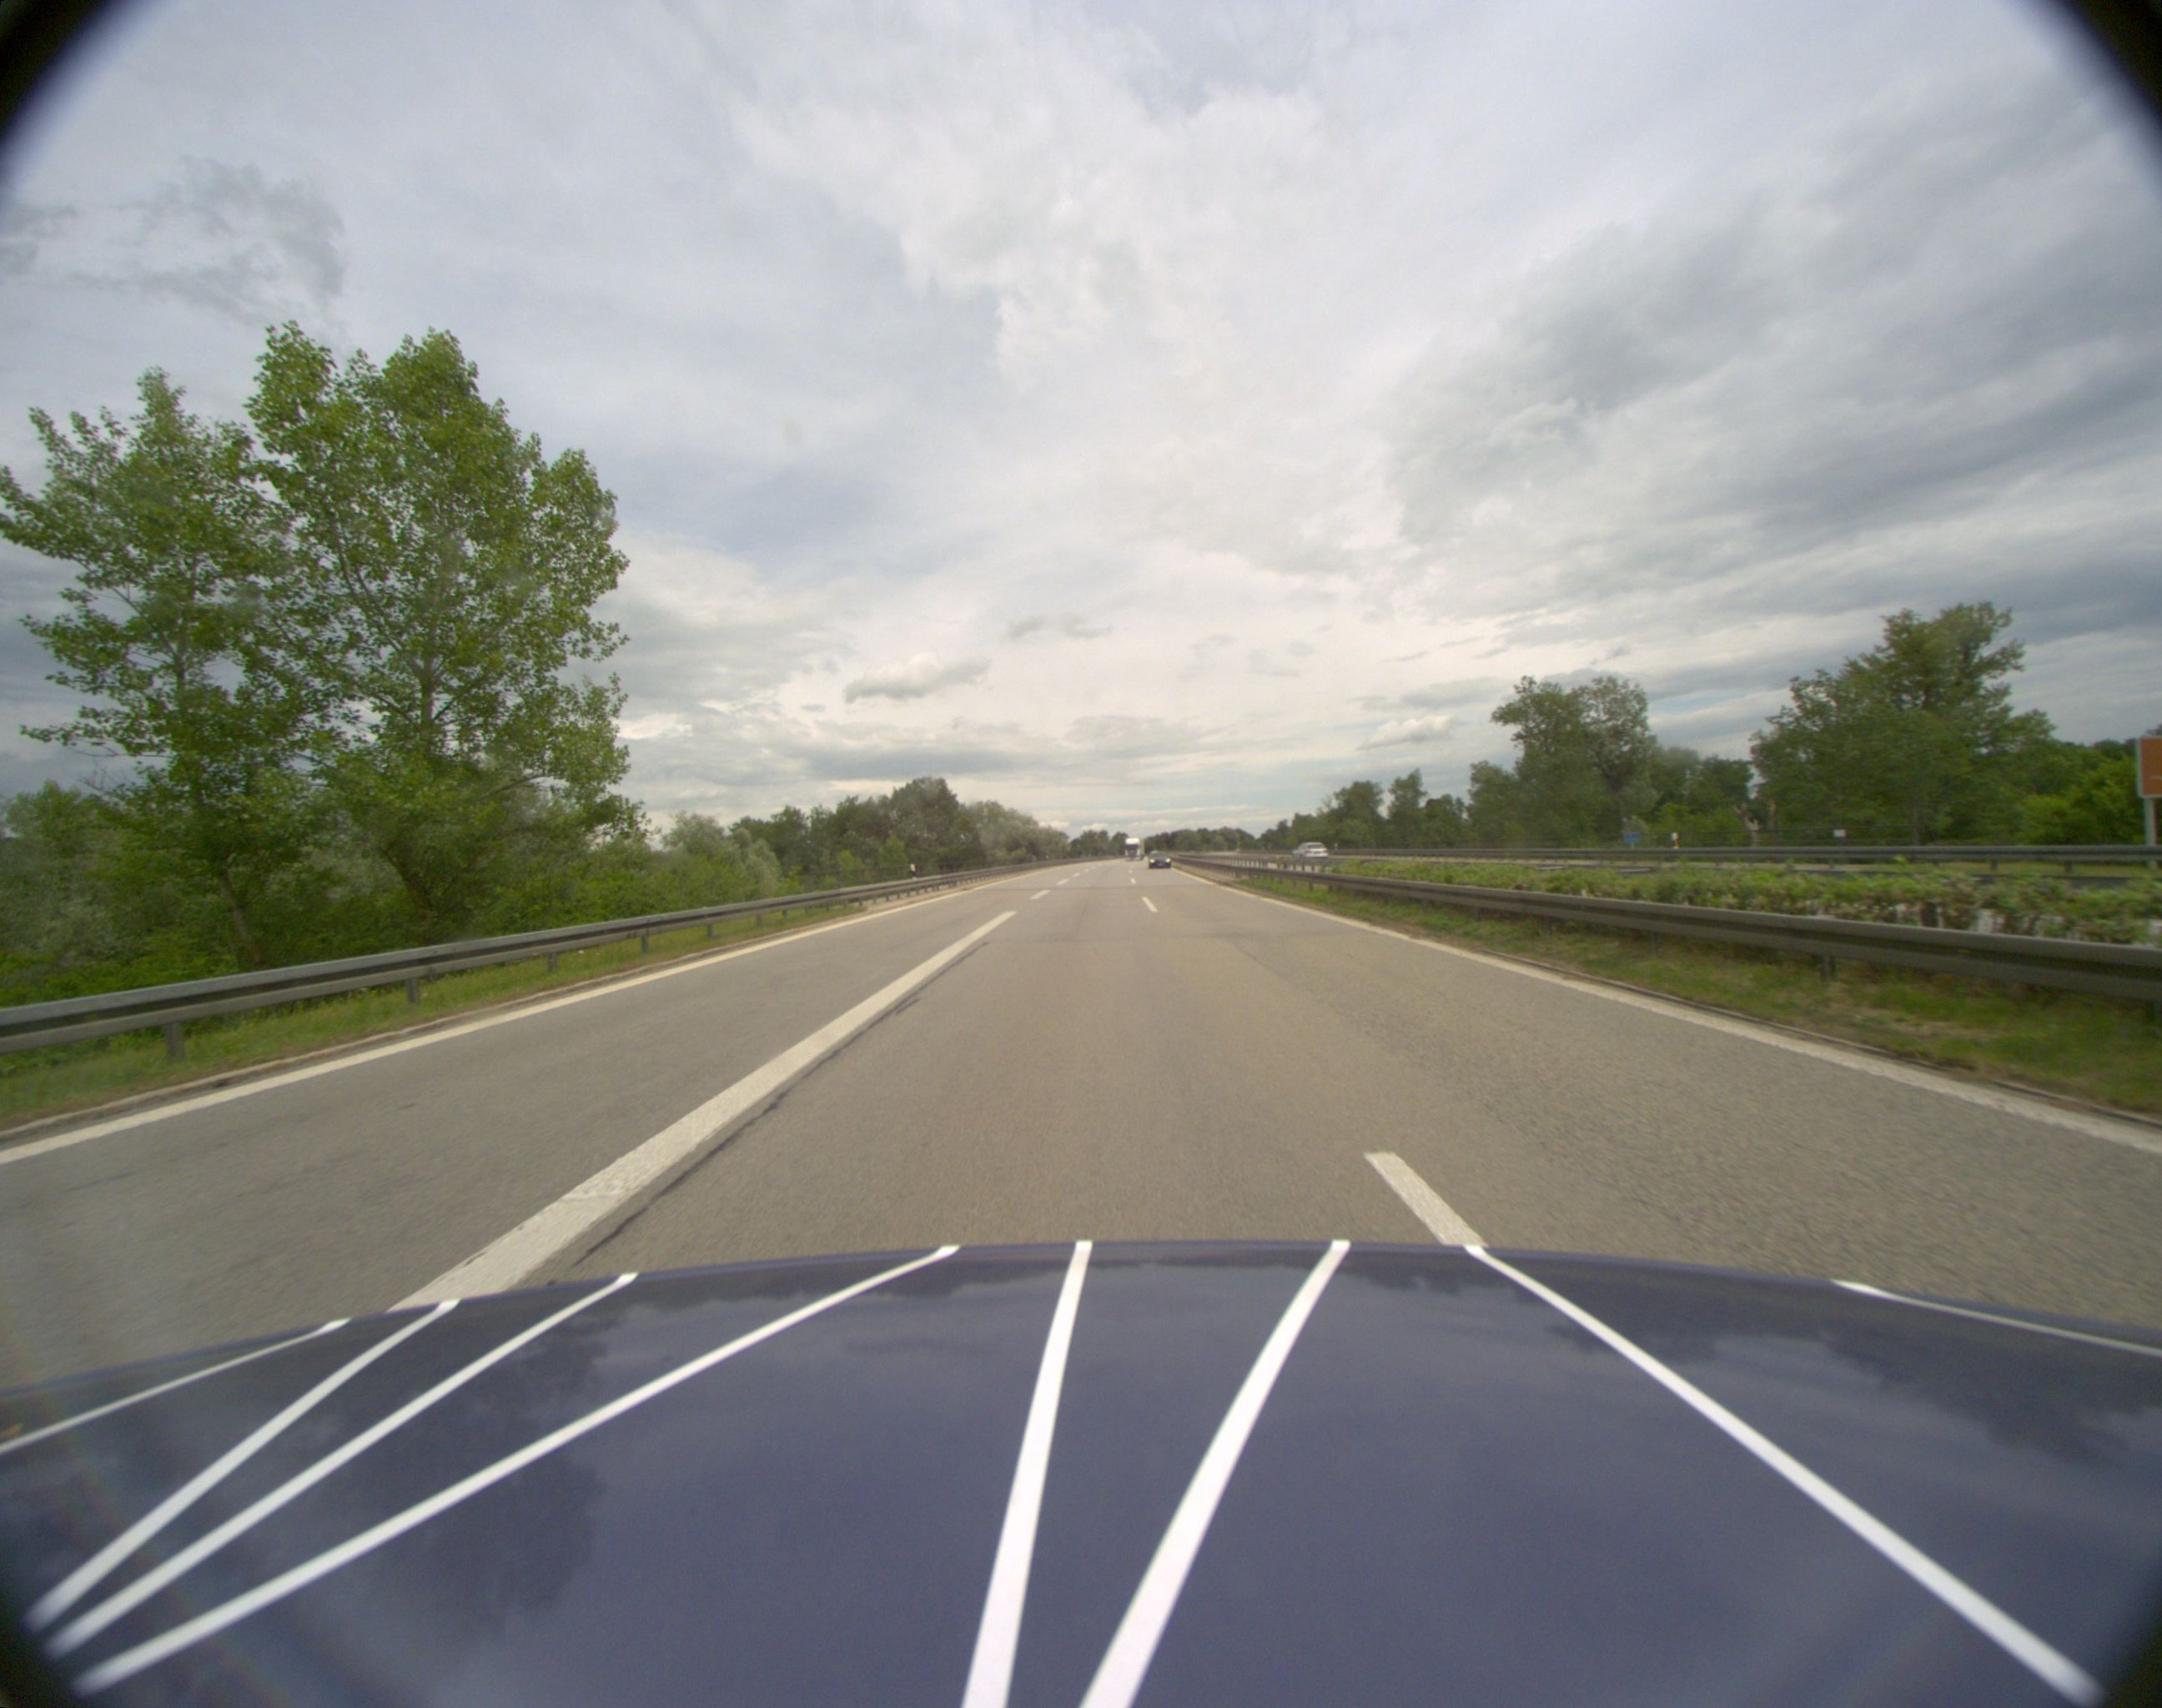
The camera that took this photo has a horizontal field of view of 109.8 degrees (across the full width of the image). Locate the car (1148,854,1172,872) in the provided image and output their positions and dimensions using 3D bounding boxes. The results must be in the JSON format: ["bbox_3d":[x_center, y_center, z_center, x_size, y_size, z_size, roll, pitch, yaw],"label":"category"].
[{"bbox_3d":[6.839,0.754,65.895,1.774,1.474,4.699,-1,-1,3],"label":"car"}]

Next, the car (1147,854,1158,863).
[{"bbox_3d":[12.838,0.824,136.862,1.774,1.474,4.658,-1,-1,7],"label":"car"}]

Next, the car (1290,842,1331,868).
[{"bbox_3d":[16.637,0.047,55.271,1.646,1.705,4.981,-2,0,3],"label":"car"}]

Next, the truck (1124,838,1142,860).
[{"bbox_3d":[9.461,-0.896,137.104,3.069,3.869,6.002,-2,0,5],"label":"truck"}]
